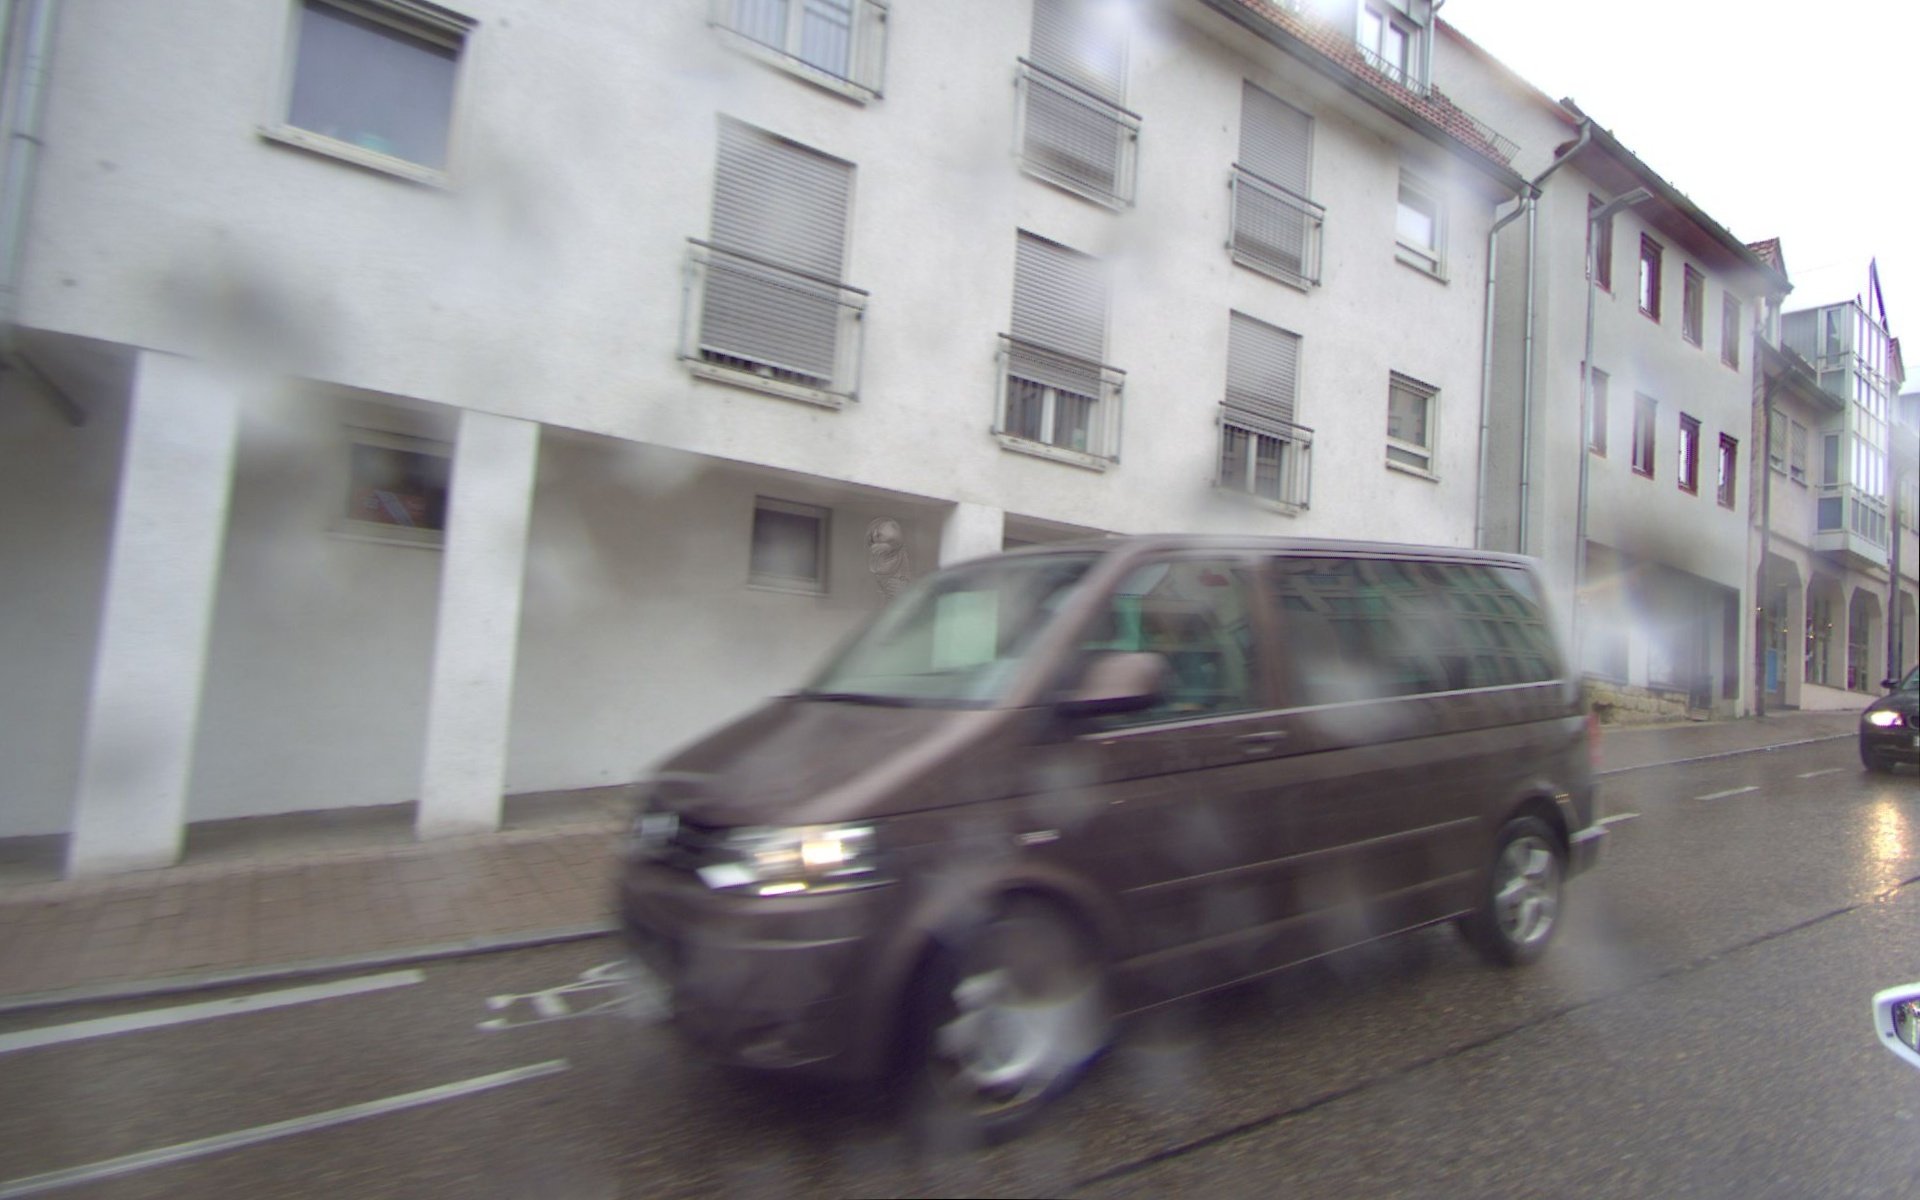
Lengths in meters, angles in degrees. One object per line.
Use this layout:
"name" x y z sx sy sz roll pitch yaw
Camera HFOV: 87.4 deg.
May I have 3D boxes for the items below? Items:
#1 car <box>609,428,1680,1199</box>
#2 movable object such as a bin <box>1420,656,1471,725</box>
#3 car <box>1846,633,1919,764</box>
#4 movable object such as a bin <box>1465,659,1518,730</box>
"car" 1.167 0.640 4.696 4.990 1.932 1.920 2 -3 -34
"movable object such as a bin" 7.606 1.406 15.743 0.579 1.020 0.505 1 -1 -33
"car" 12.461 1.146 12.105 3.867 1.463 1.678 2 -2 -33
"movable object such as a bin" 8.018 1.409 15.159 0.579 1.020 0.505 1 -1 -33
